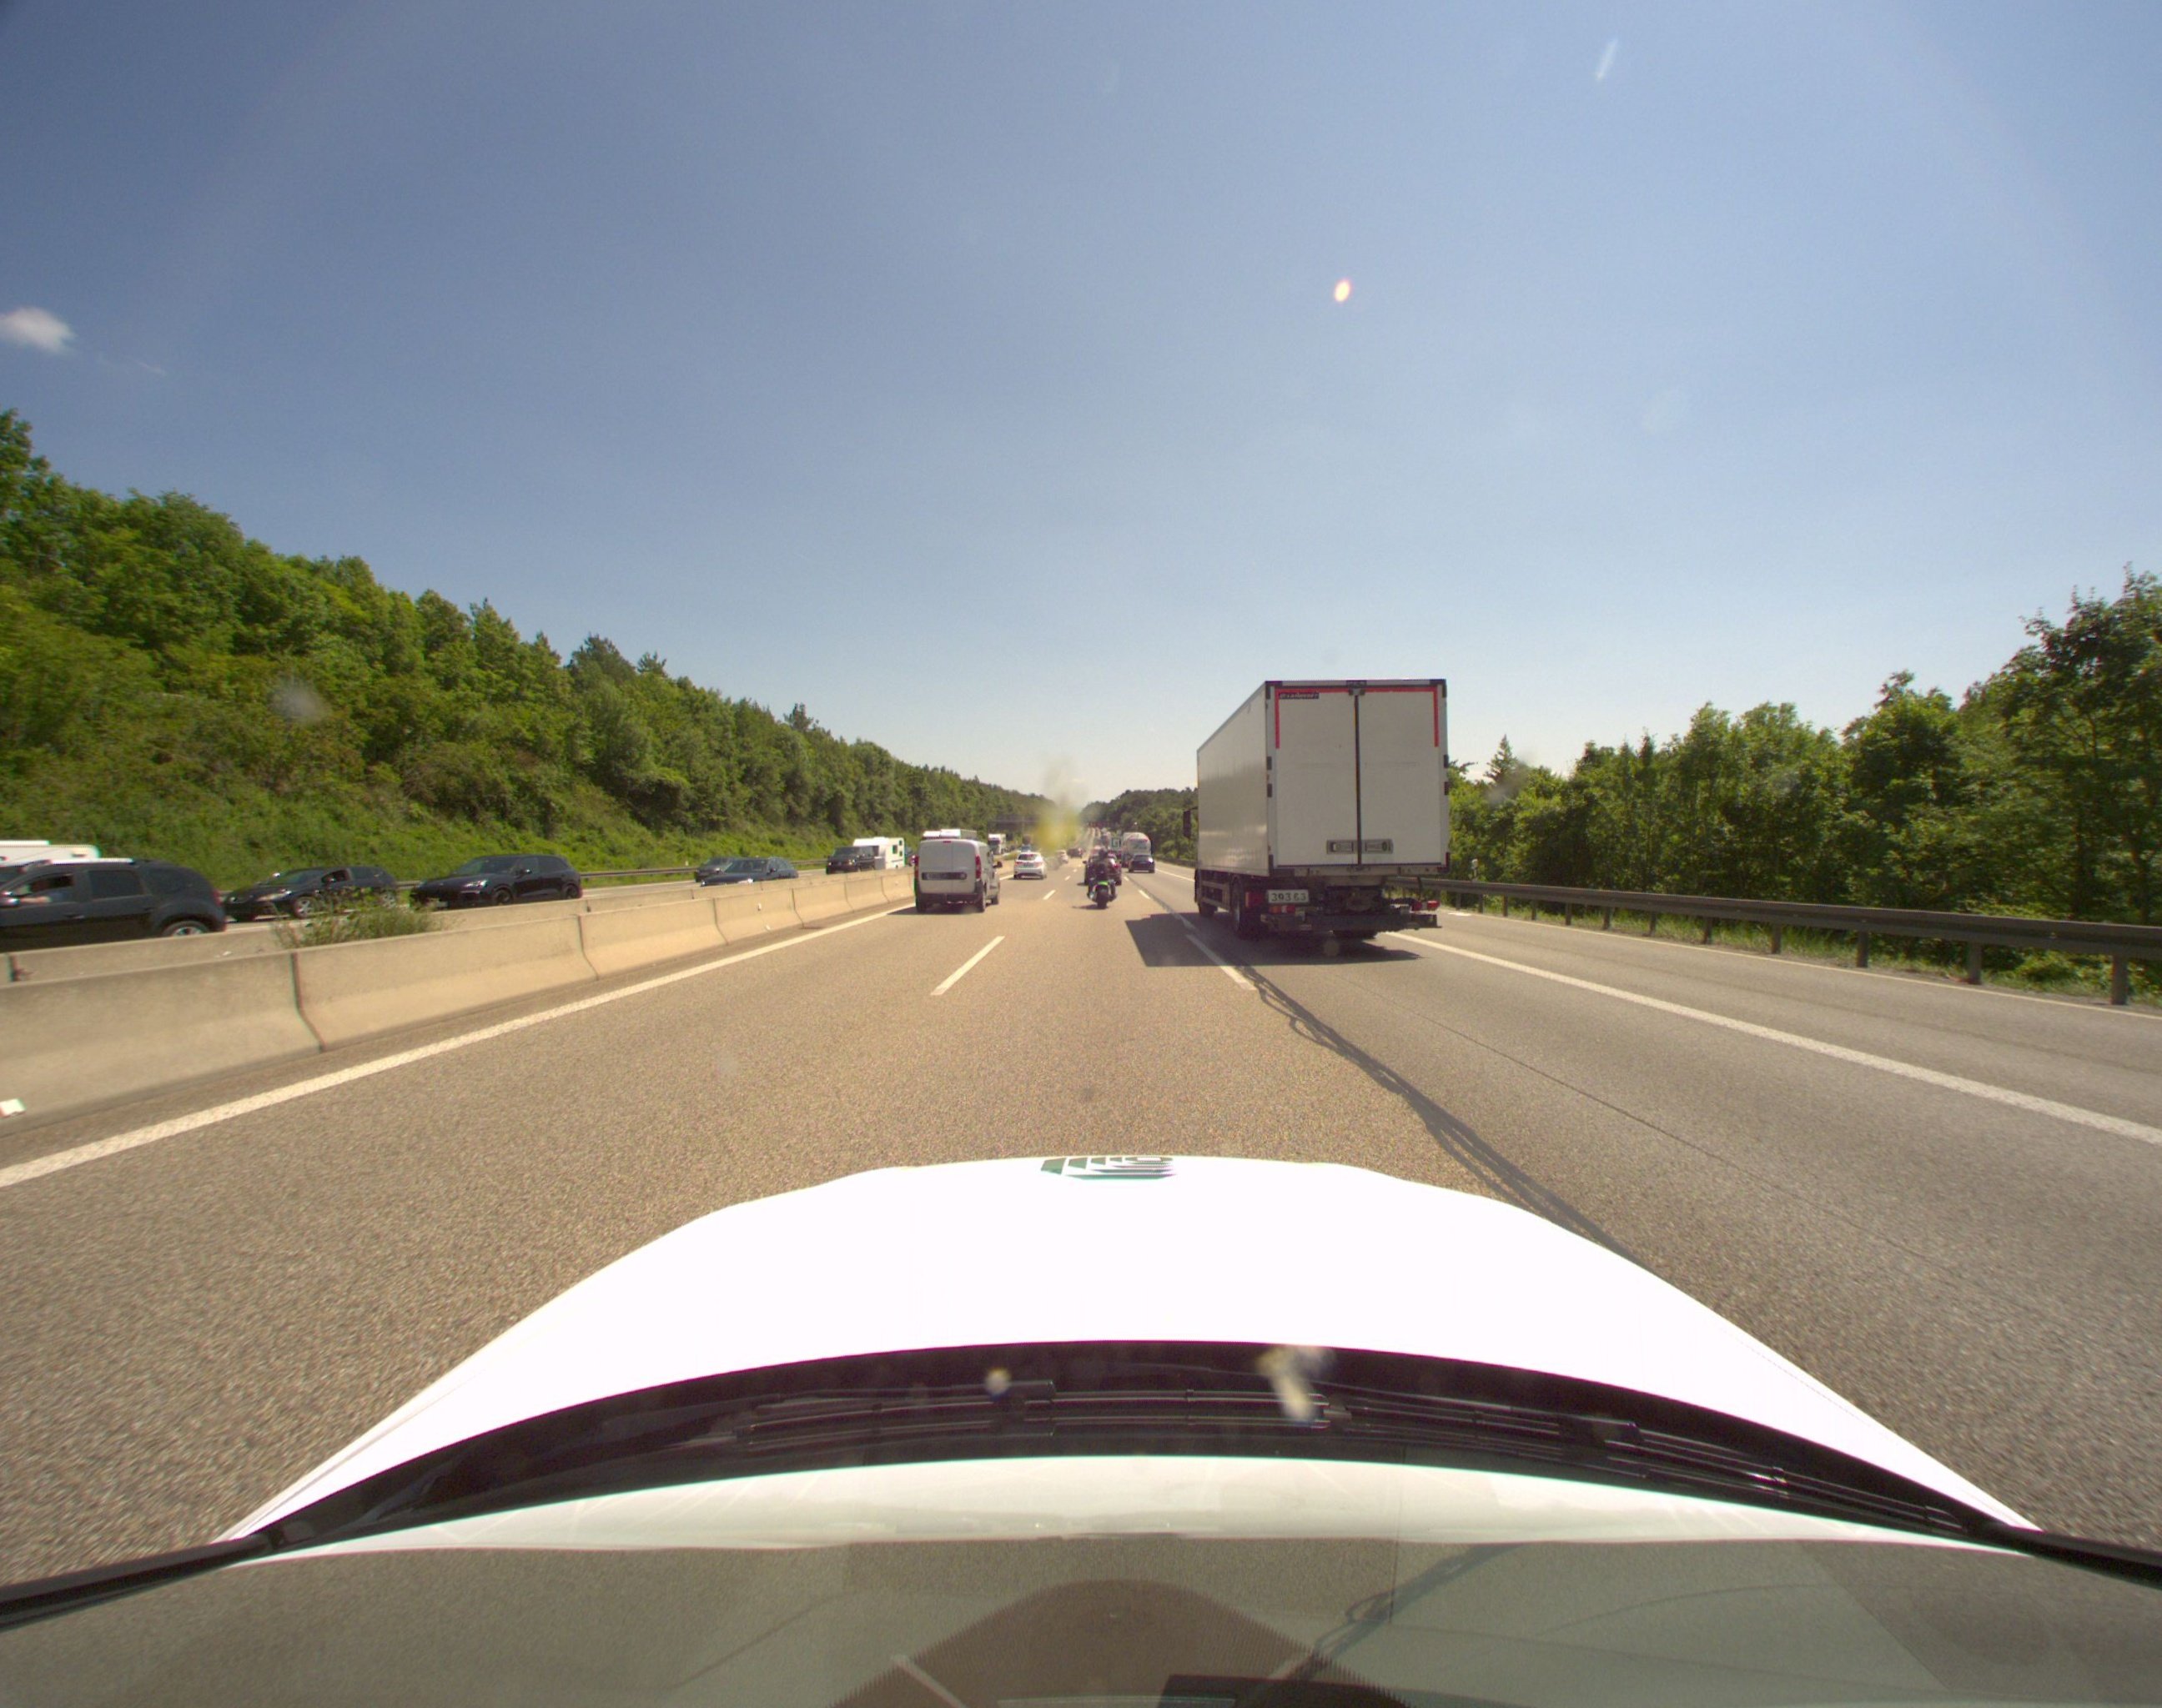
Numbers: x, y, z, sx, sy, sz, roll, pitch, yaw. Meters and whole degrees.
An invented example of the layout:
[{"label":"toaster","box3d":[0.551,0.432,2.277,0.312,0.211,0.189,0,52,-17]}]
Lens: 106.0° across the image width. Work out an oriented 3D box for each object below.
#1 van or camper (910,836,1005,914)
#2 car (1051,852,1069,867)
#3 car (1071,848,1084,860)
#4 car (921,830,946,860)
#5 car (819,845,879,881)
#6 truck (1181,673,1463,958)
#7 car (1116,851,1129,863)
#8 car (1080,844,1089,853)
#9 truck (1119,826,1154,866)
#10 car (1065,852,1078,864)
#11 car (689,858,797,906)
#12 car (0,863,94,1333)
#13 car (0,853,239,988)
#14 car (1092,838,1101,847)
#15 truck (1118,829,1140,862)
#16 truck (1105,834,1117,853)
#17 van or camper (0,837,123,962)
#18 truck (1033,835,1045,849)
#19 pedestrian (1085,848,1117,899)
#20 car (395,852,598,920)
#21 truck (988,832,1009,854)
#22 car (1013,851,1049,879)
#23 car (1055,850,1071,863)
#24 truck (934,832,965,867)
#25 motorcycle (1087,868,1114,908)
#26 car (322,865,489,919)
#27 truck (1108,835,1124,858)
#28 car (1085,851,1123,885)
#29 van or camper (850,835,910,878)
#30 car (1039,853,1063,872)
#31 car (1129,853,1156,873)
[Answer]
[{"label":"van or camper","box3d":[-3.273,0.535,22.345,1.789,1.892,4.161,-1,0,2]},{"label":"car","box3d":[-2.099,0.519,82.751,1.693,1.478,4.001,1,0,1]},{"label":"car","box3d":[-0.550,-0.086,130.217,1.873,1.859,4.001,1,0,1]},{"label":"car","box3d":[-20.128,-1.196,111.093,2.440,3.873,4.566,-1,0,1]},{"label":"car","box3d":[-13.960,0.511,49.367,1.986,2.014,5.194,-1,0,1]},{"label":"truck","box3d":[3.965,-0.545,16.253,2.679,3.876,9.780,-2,0,0]},{"label":"car","box3d":[5.986,0.413,118.141,1.781,1.555,3.804,1,0,1]},{"label":"car","box3d":[0.909,-1.282,194.458,1.922,2.014,4.001,-1,-1,2]},{"label":"truck","box3d":[5.482,-0.725,81.965,2.977,3.671,9.289,-1,0,1]},{"label":"car","box3d":[-1.689,0.660,145.049,1.986,2.014,4.001,-1,-1,2]},{"label":"car","box3d":[-10.875,0.852,26.538,1.608,1.376,4.272,-1,0,1]},{"label":"car","box3d":[-4.225,0.766,0.356,1.726,1.427,4.731,-1,0,1]},{"label":"car","box3d":[-14.363,0.848,10.919,1.686,1.683,4.197,-1,0,1]},{"label":"car","box3d":[4.569,-3.234,233.028,2.495,2.587,5.017,1,0,1]},{"label":"truck","box3d":[5.346,-0.901,90.953,1.988,3.522,4.748,-1,-1,-1]},{"label":"truck","box3d":[8.386,-3.063,230.740,3.022,5.139,9.985,2,0,1]},{"label":"van or camper","box3d":[-18.150,0.747,12.644,2.068,1.977,3.706,-1,0,2]},{"label":"truck","box3d":[-13.096,-3.751,253.861,2.896,3.974,7.770,-1,-1,1]},{"label":"pedestrian","box3d":[0.567,0.531,22.709,0.846,1.362,0.962,-1,0,2]},{"label":"car","box3d":[-15.767,0.786,22.407,1.918,1.639,4.929,-1,0,1]},{"label":"truck","box3d":[-16.271,-2.206,160.769,2.791,4.165,7.605,-1,-1,3]},{"label":"car","box3d":[-2.793,0.572,46.054,1.693,1.478,4.001,1,0,1]},{"label":"car","box3d":[-2.094,0.252,95.381,1.693,1.478,4.001,1,0,1]},{"label":"truck","box3d":[-16.464,-0.541,102.311,2.830,4.214,5.661,0,0,1]},{"label":"motorcycle","box3d":[0.553,0.929,22.817,0.689,1.015,2.123,1,0,2]},{"label":"car","box3d":[-21.137,1.123,25.733,1.592,1.485,4.296,-1,0,2]},{"label":"truck","box3d":[7.276,-1.505,170.397,3.022,4.542,9.985,2,0,1]},{"label":"car","box3d":[1.133,0.616,39.111,1.525,1.510,4.006,-1,0,5]},{"label":"van or camper","box3d":[-13.850,0.137,56.597,2.222,2.761,6.839,-1,0,1]},{"label":"car","box3d":[-2.428,0.662,66.831,1.693,1.478,4.001,1,0,1]},{"label":"car","box3d":[4.705,0.677,62.674,1.822,1.470,4.001,1,0,1]}]
